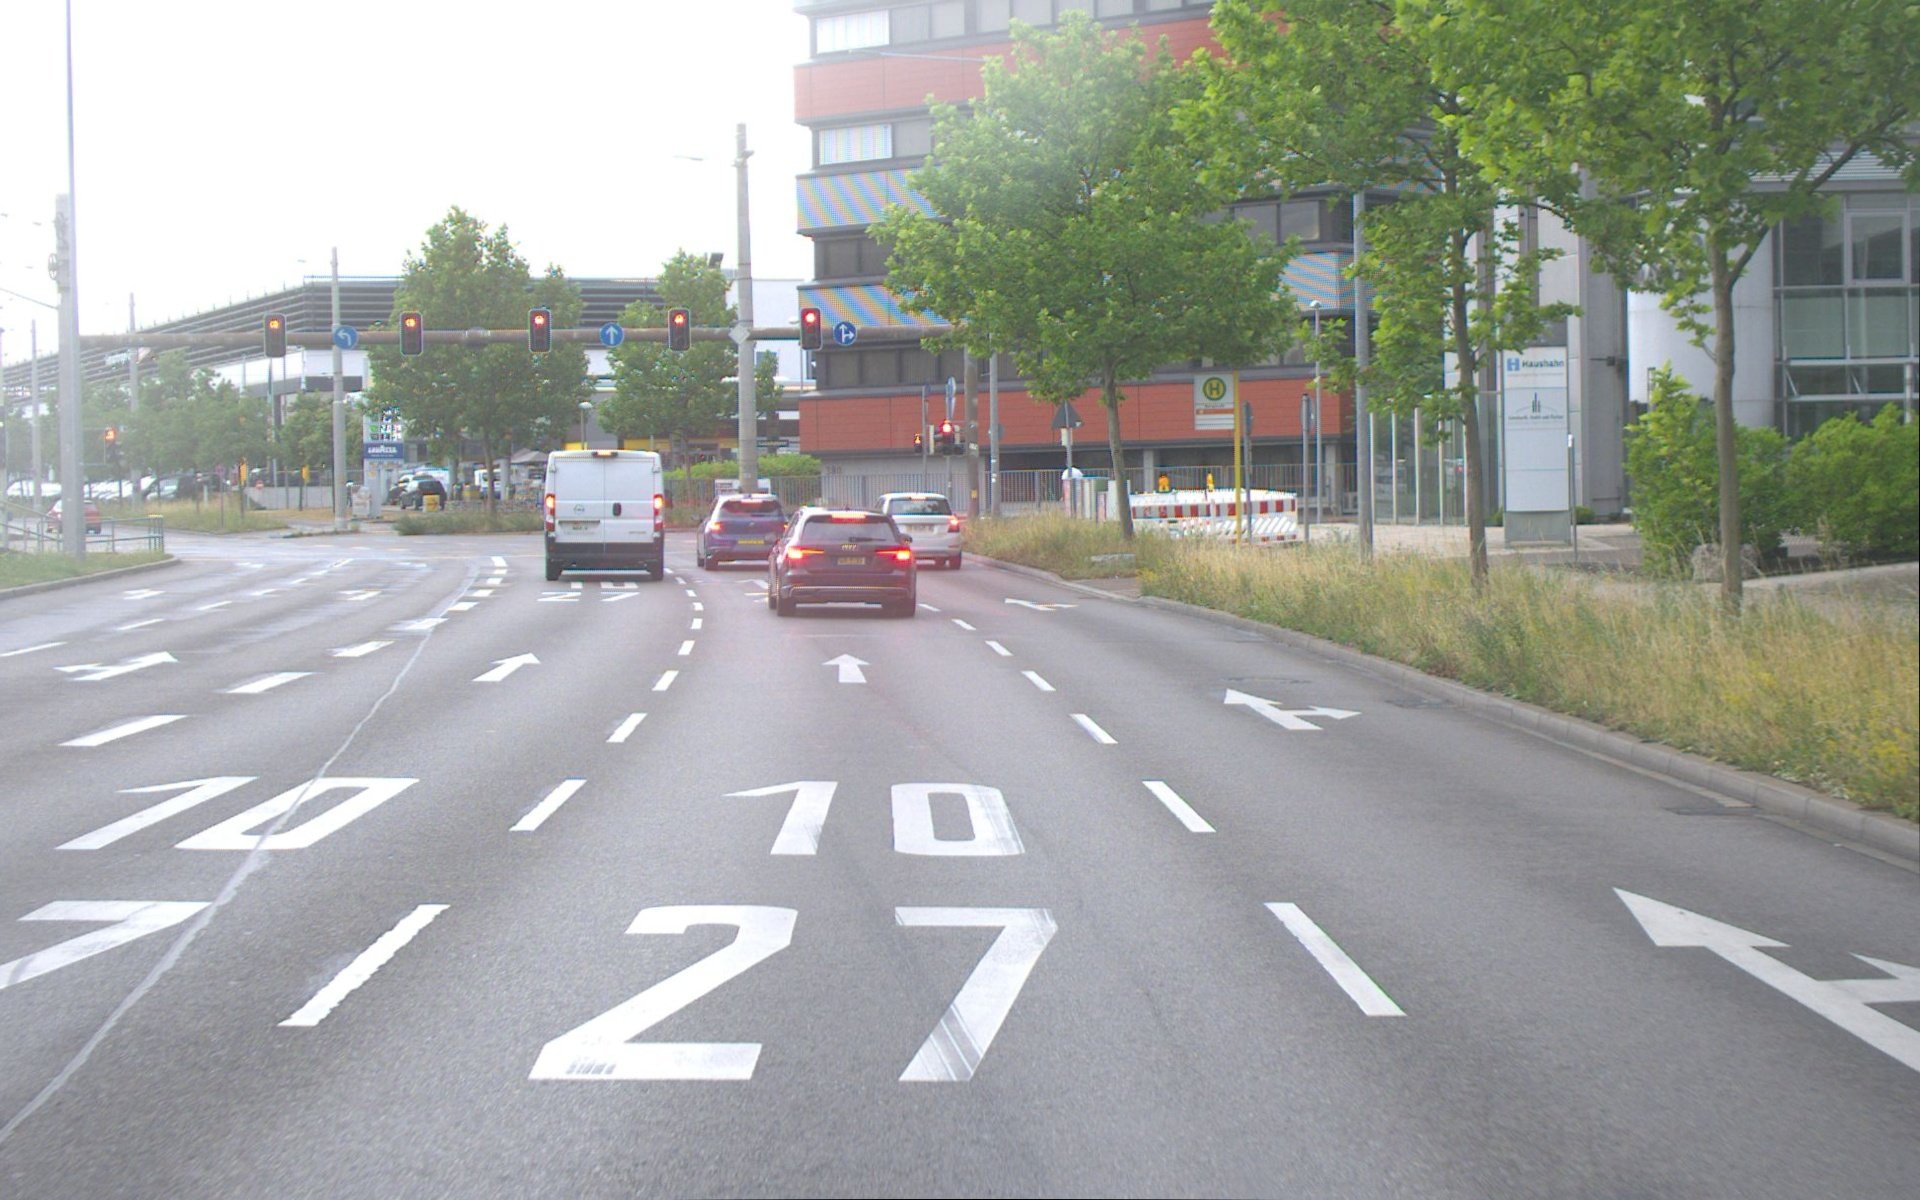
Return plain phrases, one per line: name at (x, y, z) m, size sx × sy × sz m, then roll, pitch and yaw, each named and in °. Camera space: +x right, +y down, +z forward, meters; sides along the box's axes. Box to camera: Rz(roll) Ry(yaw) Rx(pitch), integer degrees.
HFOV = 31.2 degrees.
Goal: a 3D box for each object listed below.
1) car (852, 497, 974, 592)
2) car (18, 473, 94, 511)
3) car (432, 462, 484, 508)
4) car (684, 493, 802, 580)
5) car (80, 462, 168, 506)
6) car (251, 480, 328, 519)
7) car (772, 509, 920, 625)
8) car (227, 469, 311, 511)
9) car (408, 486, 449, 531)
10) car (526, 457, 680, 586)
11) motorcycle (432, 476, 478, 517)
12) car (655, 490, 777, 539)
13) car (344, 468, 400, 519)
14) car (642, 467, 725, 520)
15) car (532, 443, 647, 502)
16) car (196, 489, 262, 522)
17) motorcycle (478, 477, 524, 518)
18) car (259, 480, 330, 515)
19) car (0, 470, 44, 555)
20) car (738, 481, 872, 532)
car at (-0.947, -1.099, 66.600) m, size 2.021 × 1.763 × 4.001 m, roll 0°, pitch 2°, yaw -5°
car at (-51.915, -6.183, 197.370) m, size 3.986 × 2.007 × 2.000 m, roll 1°, pitch -2°, yaw -22°
car at (-25.204, -5.760, 172.526) m, size 1.993 × 2.007 × 4.001 m, roll 1°, pitch -2°, yaw -17°
car at (-4.242, -1.211, 66.708) m, size 2.021 × 1.617 × 4.001 m, roll 0°, pitch 0°, yaw -7°
car at (-41.517, -5.747, 170.661) m, size 3.986 × 2.007 × 2.000 m, roll 1°, pitch -2°, yaw -22°
car at (-38.396, -5.739, 196.792) m, size 3.986 × 2.007 × 2.000 m, roll 1°, pitch -2°, yaw -22°
car at (-1.462, -0.472, 45.595) m, size 1.764 × 1.458 × 4.627 m, roll 0°, pitch 1°, yaw 1°
car at (-36.106, -5.727, 179.629) m, size 3.986 × 2.007 × 2.000 m, roll 1°, pitch -2°, yaw -22°
car at (-25.999, -4.451, 168.048) m, size 1.817 × 2.007 × 3.471 m, roll 0°, pitch -2°, yaw -11°
car at (-6.231, -1.360, 60.604) m, size 2.511 × 2.169 × 5.150 m, roll 0°, pitch 1°, yaw -4°
motorcycle at (-28.040, -5.712, 190.954) m, size 1.993 × 2.007 × 4.001 m, roll 1°, pitch -2°, yaw -16°
car at (-8.344, -2.915, 117.483) m, size 3.997 × 1.617 × 2.022 m, roll 1°, pitch 1°, yaw 44°
car at (-25.999, -4.686, 151.944) m, size 1.993 × 2.007 × 4.001 m, roll 0°, pitch -2°, yaw -16°
car at (-11.887, -4.543, 147.555) m, size 1.993 × 2.007 × 4.000 m, roll 1°, pitch -2°, yaw -30°
car at (-13.456, -4.614, 124.804) m, size 3.997 × 2.007 × 1.995 m, roll 2°, pitch 0°, yaw 44°
car at (-48.626, -6.254, 228.600) m, size 3.986 × 2.007 × 2.000 m, roll 1°, pitch -2°, yaw -22°
motorcycle at (-25.610, -5.719, 191.786) m, size 1.993 × 2.007 × 4.001 m, roll 1°, pitch -2°, yaw -16°
car at (-41.271, -6.354, 213.302) m, size 3.986 × 2.007 × 2.000 m, roll 1°, pitch -2°, yaw -22°
car at (-21.448, -1.946, 75.288) m, size 1.993 × 1.803 × 3.848 m, roll 3°, pitch 0°, yaw -6°
car at (-5.143, -3.085, 113.723) m, size 4.322 × 1.617 × 2.022 m, roll 1°, pitch 1°, yaw 44°
